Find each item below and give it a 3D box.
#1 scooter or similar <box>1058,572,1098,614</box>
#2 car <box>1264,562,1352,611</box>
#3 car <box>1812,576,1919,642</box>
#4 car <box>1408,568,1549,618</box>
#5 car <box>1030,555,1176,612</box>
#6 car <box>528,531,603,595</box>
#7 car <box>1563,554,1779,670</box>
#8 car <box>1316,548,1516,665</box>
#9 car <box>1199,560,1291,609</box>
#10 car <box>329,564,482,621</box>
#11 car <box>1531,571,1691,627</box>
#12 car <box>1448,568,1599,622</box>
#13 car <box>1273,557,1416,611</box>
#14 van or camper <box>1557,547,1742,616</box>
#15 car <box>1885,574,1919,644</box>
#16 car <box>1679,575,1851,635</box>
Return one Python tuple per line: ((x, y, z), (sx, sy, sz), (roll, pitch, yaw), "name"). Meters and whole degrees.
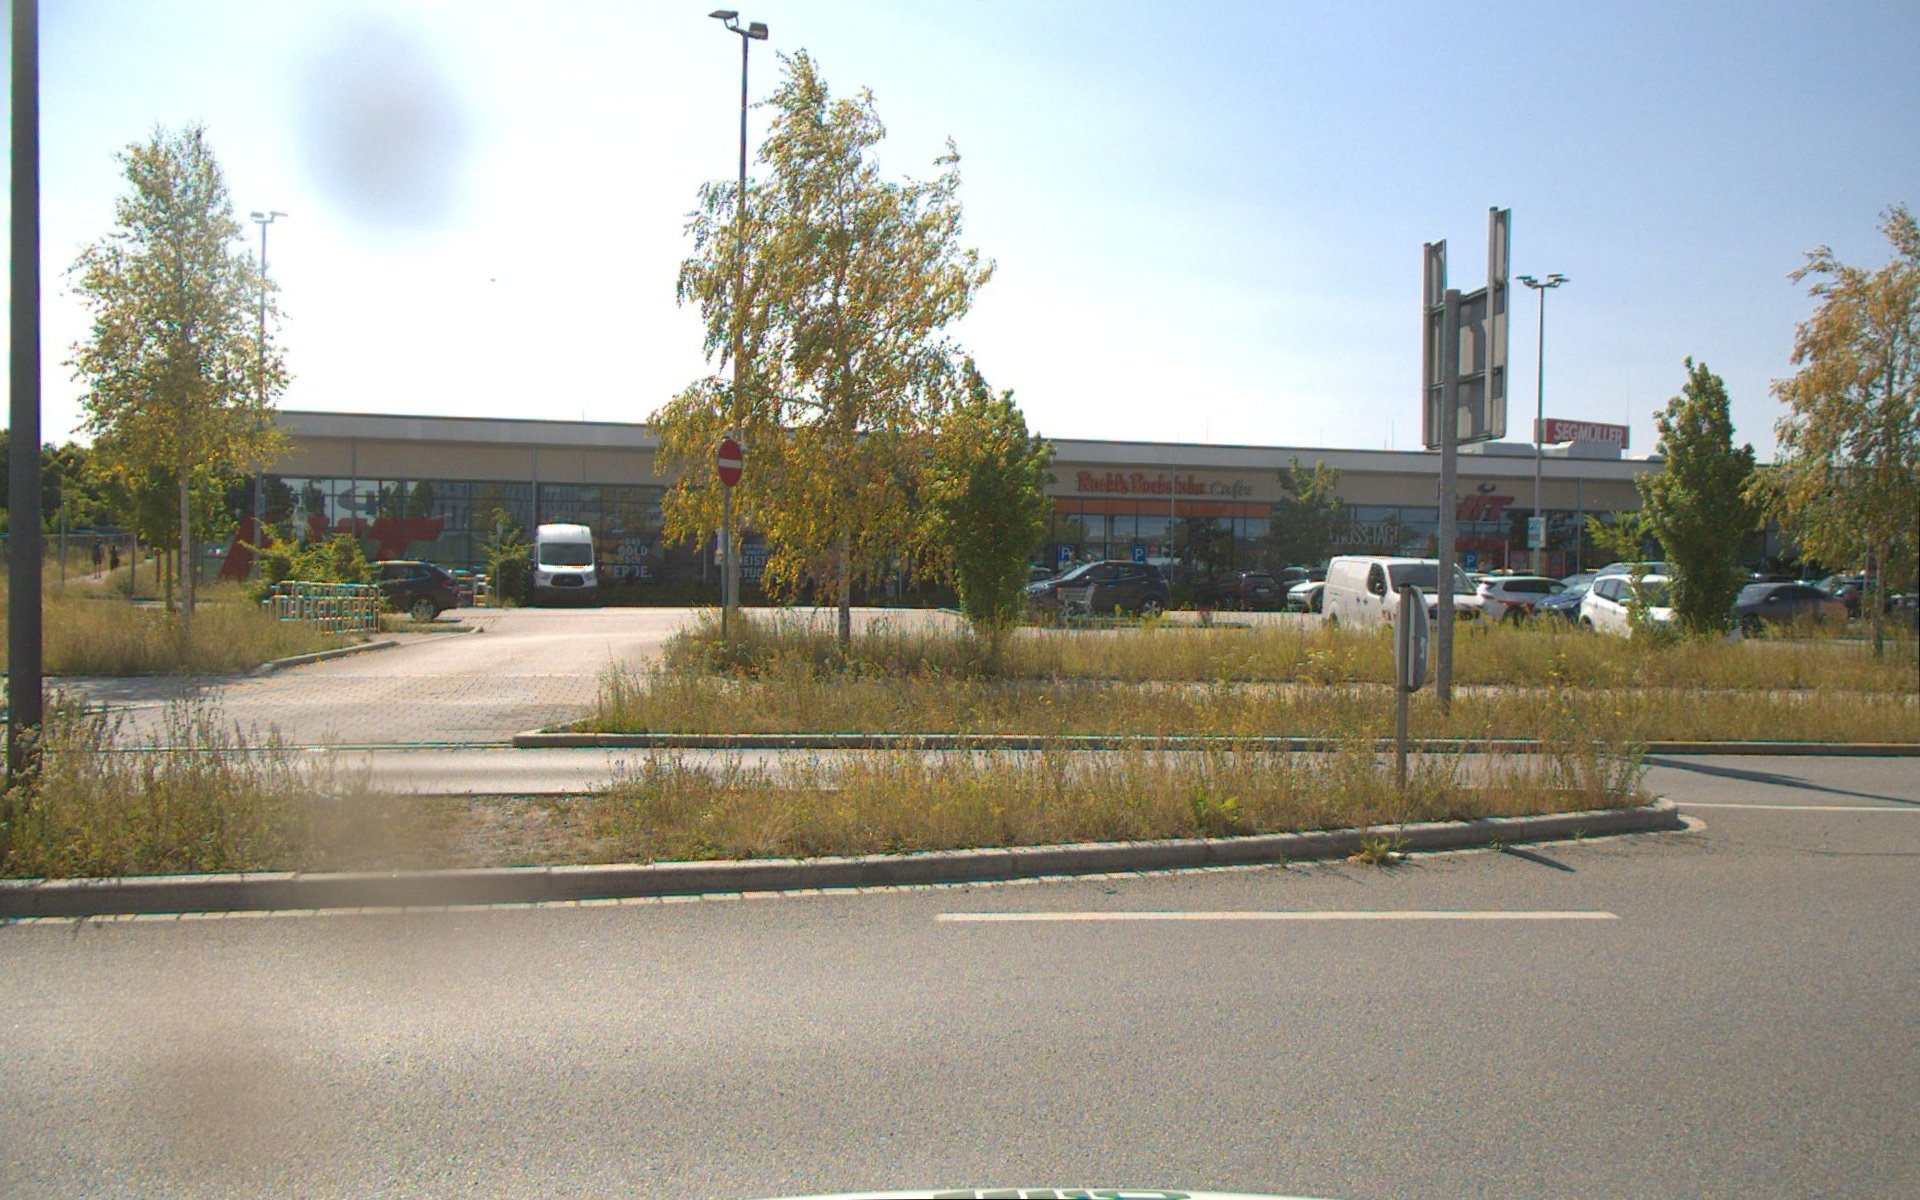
((3.169, -0.199, 44.433), (0.925, 1.098, 0.651), (1, 1, -8), "scooter or similar")
((13.093, -0.529, 62.410), (1.957, 1.737, 3.992), (1, 2, -9), "car")
((31.751, 0.309, 56.463), (4.387, 2.139, 1.996), (1, 1, -9), "car")
((15.391, -0.214, 49.101), (3.659, 1.415, 1.725), (0, 1, -16), "car")
((3.985, -0.468, 46.314), (3.727, 1.535, 1.727), (0, 1, -13), "car")
((-13.510, -1.274, 56.378), (2.186, 2.011, 6.667), (0, 1, -16), "car")
((13.766, 0.154, 32.410), (2.113, 2.048, 5.117), (1, 1, 1), "car")
((8.664, 0.043, 32.003), (2.040, 2.048, 5.224), (1, 1, -5), "car")
((10.574, -0.596, 61.571), (1.959, 1.737, 3.987), (0, 2, -13), "car")
((-14.784, -0.206, 44.256), (3.771, 1.448, 1.764), (1, 1, -17), "car")
((17.194, -0.042, 43.721), (3.659, 1.415, 1.725), (0, 1, -16), "car")
((15.680, -0.147, 46.071), (3.659, 1.415, 1.725), (0, 1, -16), "car")
((13.236, -0.541, 57.036), (4.389, 1.735, 1.870), (1, 1, -10), "car")
((21.172, -0.575, 50.859), (4.944, 2.048, 1.995), (0, 1, -11), "van or camper")
((32.433, 0.319, 53.438), (4.401, 2.229, 1.990), (1, 1, -19), "car")
((22.134, 0.121, 45.542), (3.916, 1.534, 1.870), (1, 1, -12), "car")
